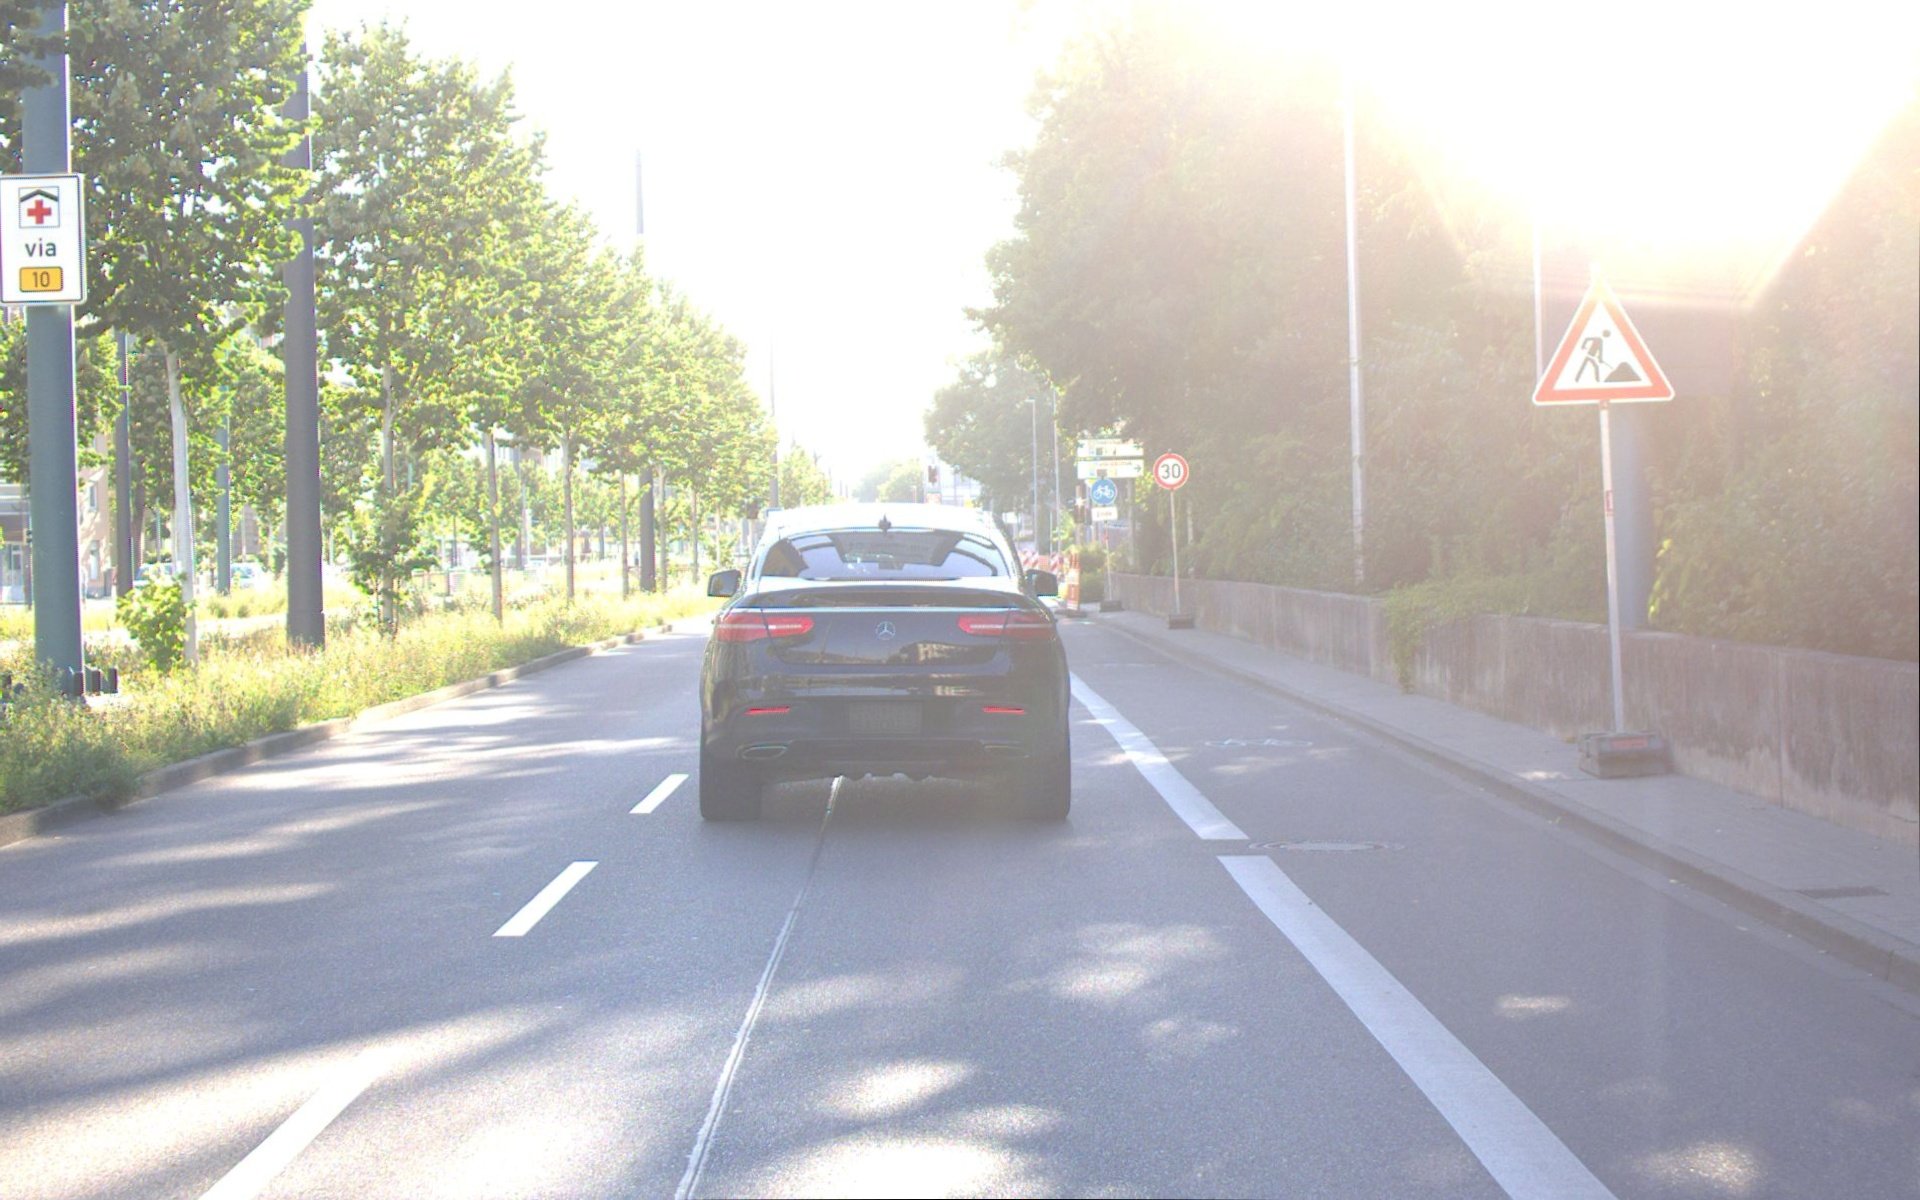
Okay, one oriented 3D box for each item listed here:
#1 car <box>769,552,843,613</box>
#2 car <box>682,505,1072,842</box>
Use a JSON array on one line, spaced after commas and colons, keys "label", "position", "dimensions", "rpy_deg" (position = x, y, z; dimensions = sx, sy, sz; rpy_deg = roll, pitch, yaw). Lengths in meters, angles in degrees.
[{"label": "car", "position": [-4.158, -0.494, 93.227], "dimensions": [1.885, 1.575, 4.001], "rpy_deg": [0, 1, -1]}, {"label": "car", "position": [-0.428, 0.344, 19.666], "dimensions": [1.993, 1.728, 4.000], "rpy_deg": [0, 1, 0]}]
